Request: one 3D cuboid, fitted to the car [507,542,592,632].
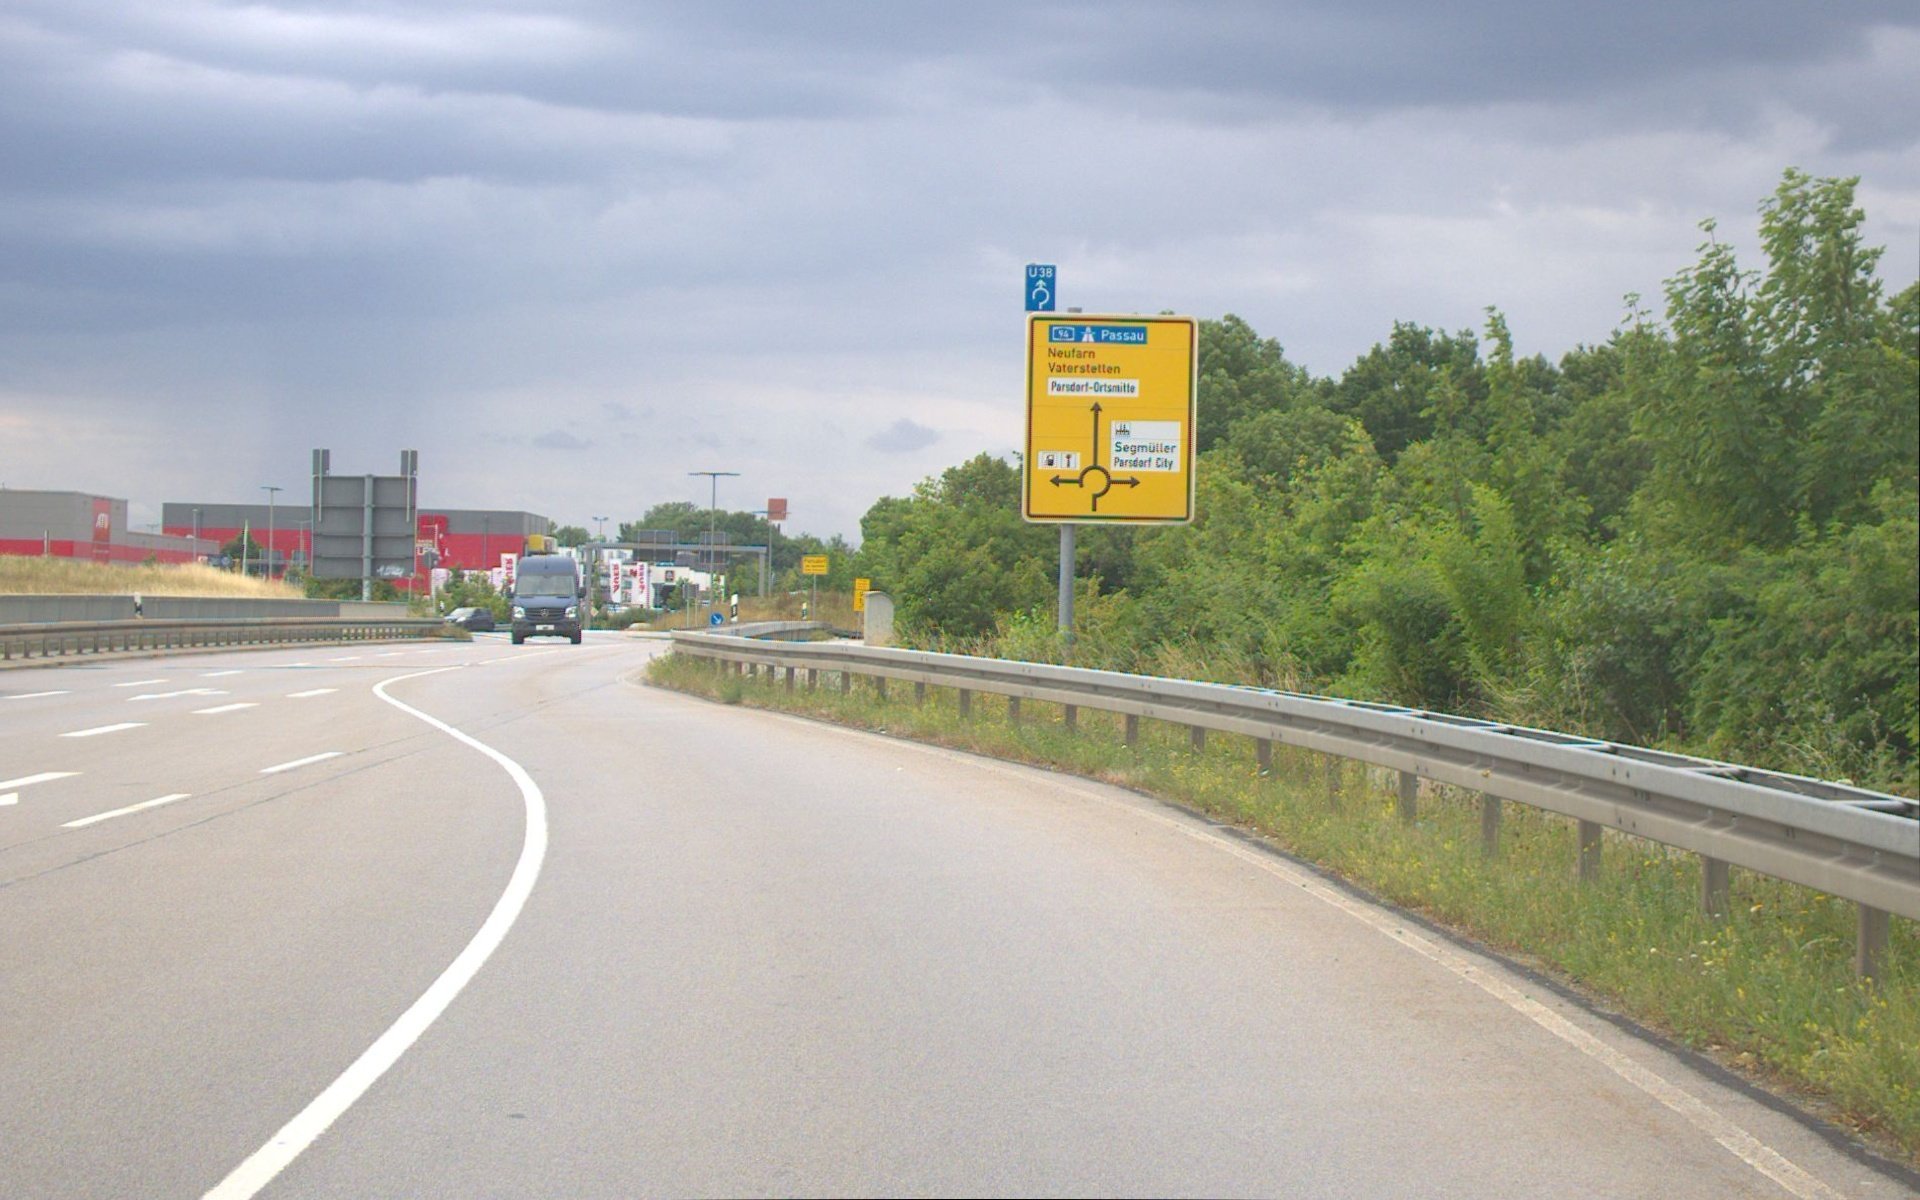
[{"bbox_3d":[-12.174,-0.376,102.380,1.993,2.583,6.004,1,0,-2],"label":"car"}]

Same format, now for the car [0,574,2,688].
[{"bbox_3d":[-13.840,0.403,44.639,1.797,1.545,4.000,1,0,-2],"label":"car"}]
